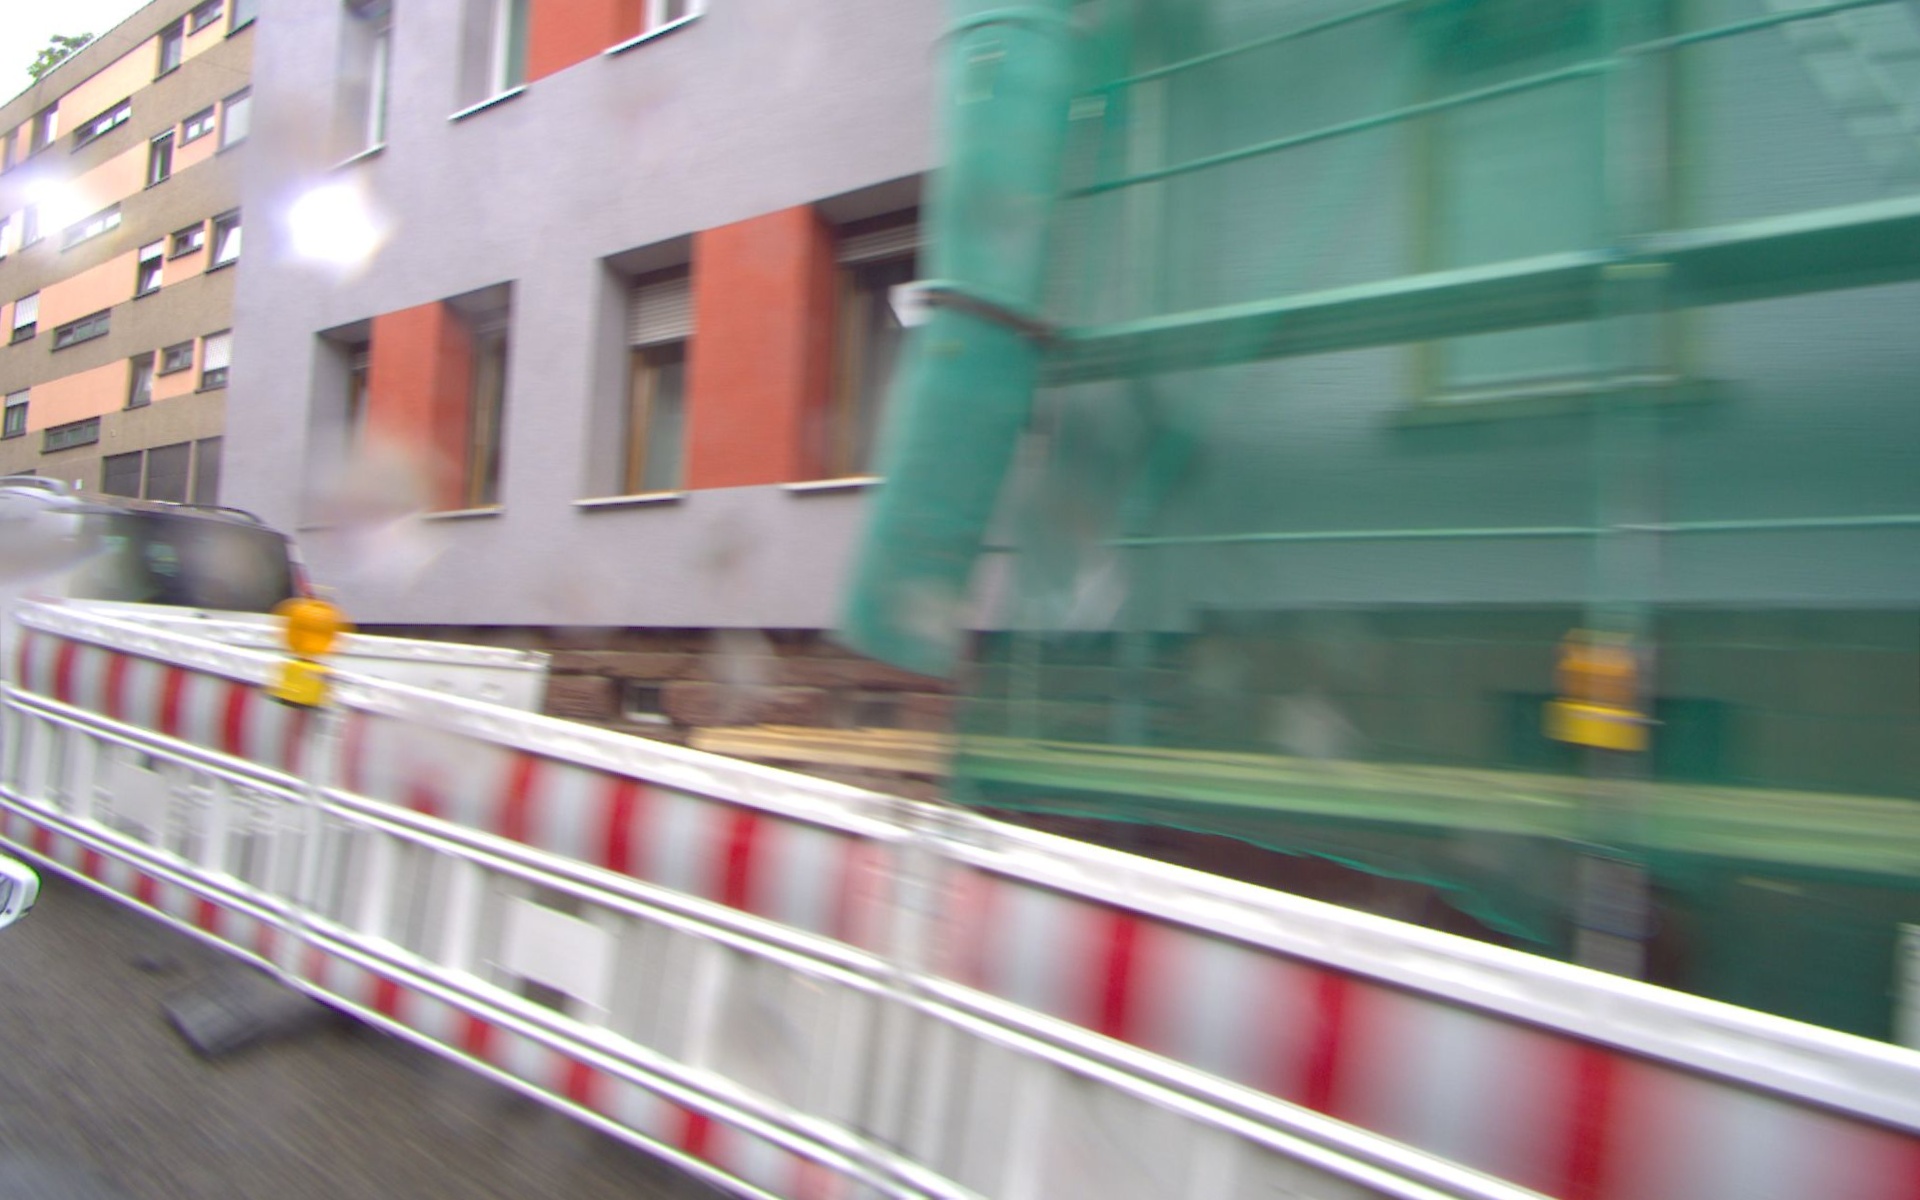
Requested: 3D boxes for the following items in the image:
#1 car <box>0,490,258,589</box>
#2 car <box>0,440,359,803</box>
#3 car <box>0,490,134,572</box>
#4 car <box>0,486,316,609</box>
[{"bbox_3d":[-15.386,-1.082,17.959,1.845,1.552,4.338,7,5,30],"label":"car"},{"bbox_3d":[-5.990,-0.007,6.580,3.932,1.782,1.645,7,-2,30],"label":"car"},{"bbox_3d":[-19.488,-1.438,20.341,1.663,1.551,3.963,6,3,27],"label":"car"},{"bbox_3d":[-13.215,-0.841,16.777,1.699,1.726,3.824,7,4,29],"label":"car"}]
